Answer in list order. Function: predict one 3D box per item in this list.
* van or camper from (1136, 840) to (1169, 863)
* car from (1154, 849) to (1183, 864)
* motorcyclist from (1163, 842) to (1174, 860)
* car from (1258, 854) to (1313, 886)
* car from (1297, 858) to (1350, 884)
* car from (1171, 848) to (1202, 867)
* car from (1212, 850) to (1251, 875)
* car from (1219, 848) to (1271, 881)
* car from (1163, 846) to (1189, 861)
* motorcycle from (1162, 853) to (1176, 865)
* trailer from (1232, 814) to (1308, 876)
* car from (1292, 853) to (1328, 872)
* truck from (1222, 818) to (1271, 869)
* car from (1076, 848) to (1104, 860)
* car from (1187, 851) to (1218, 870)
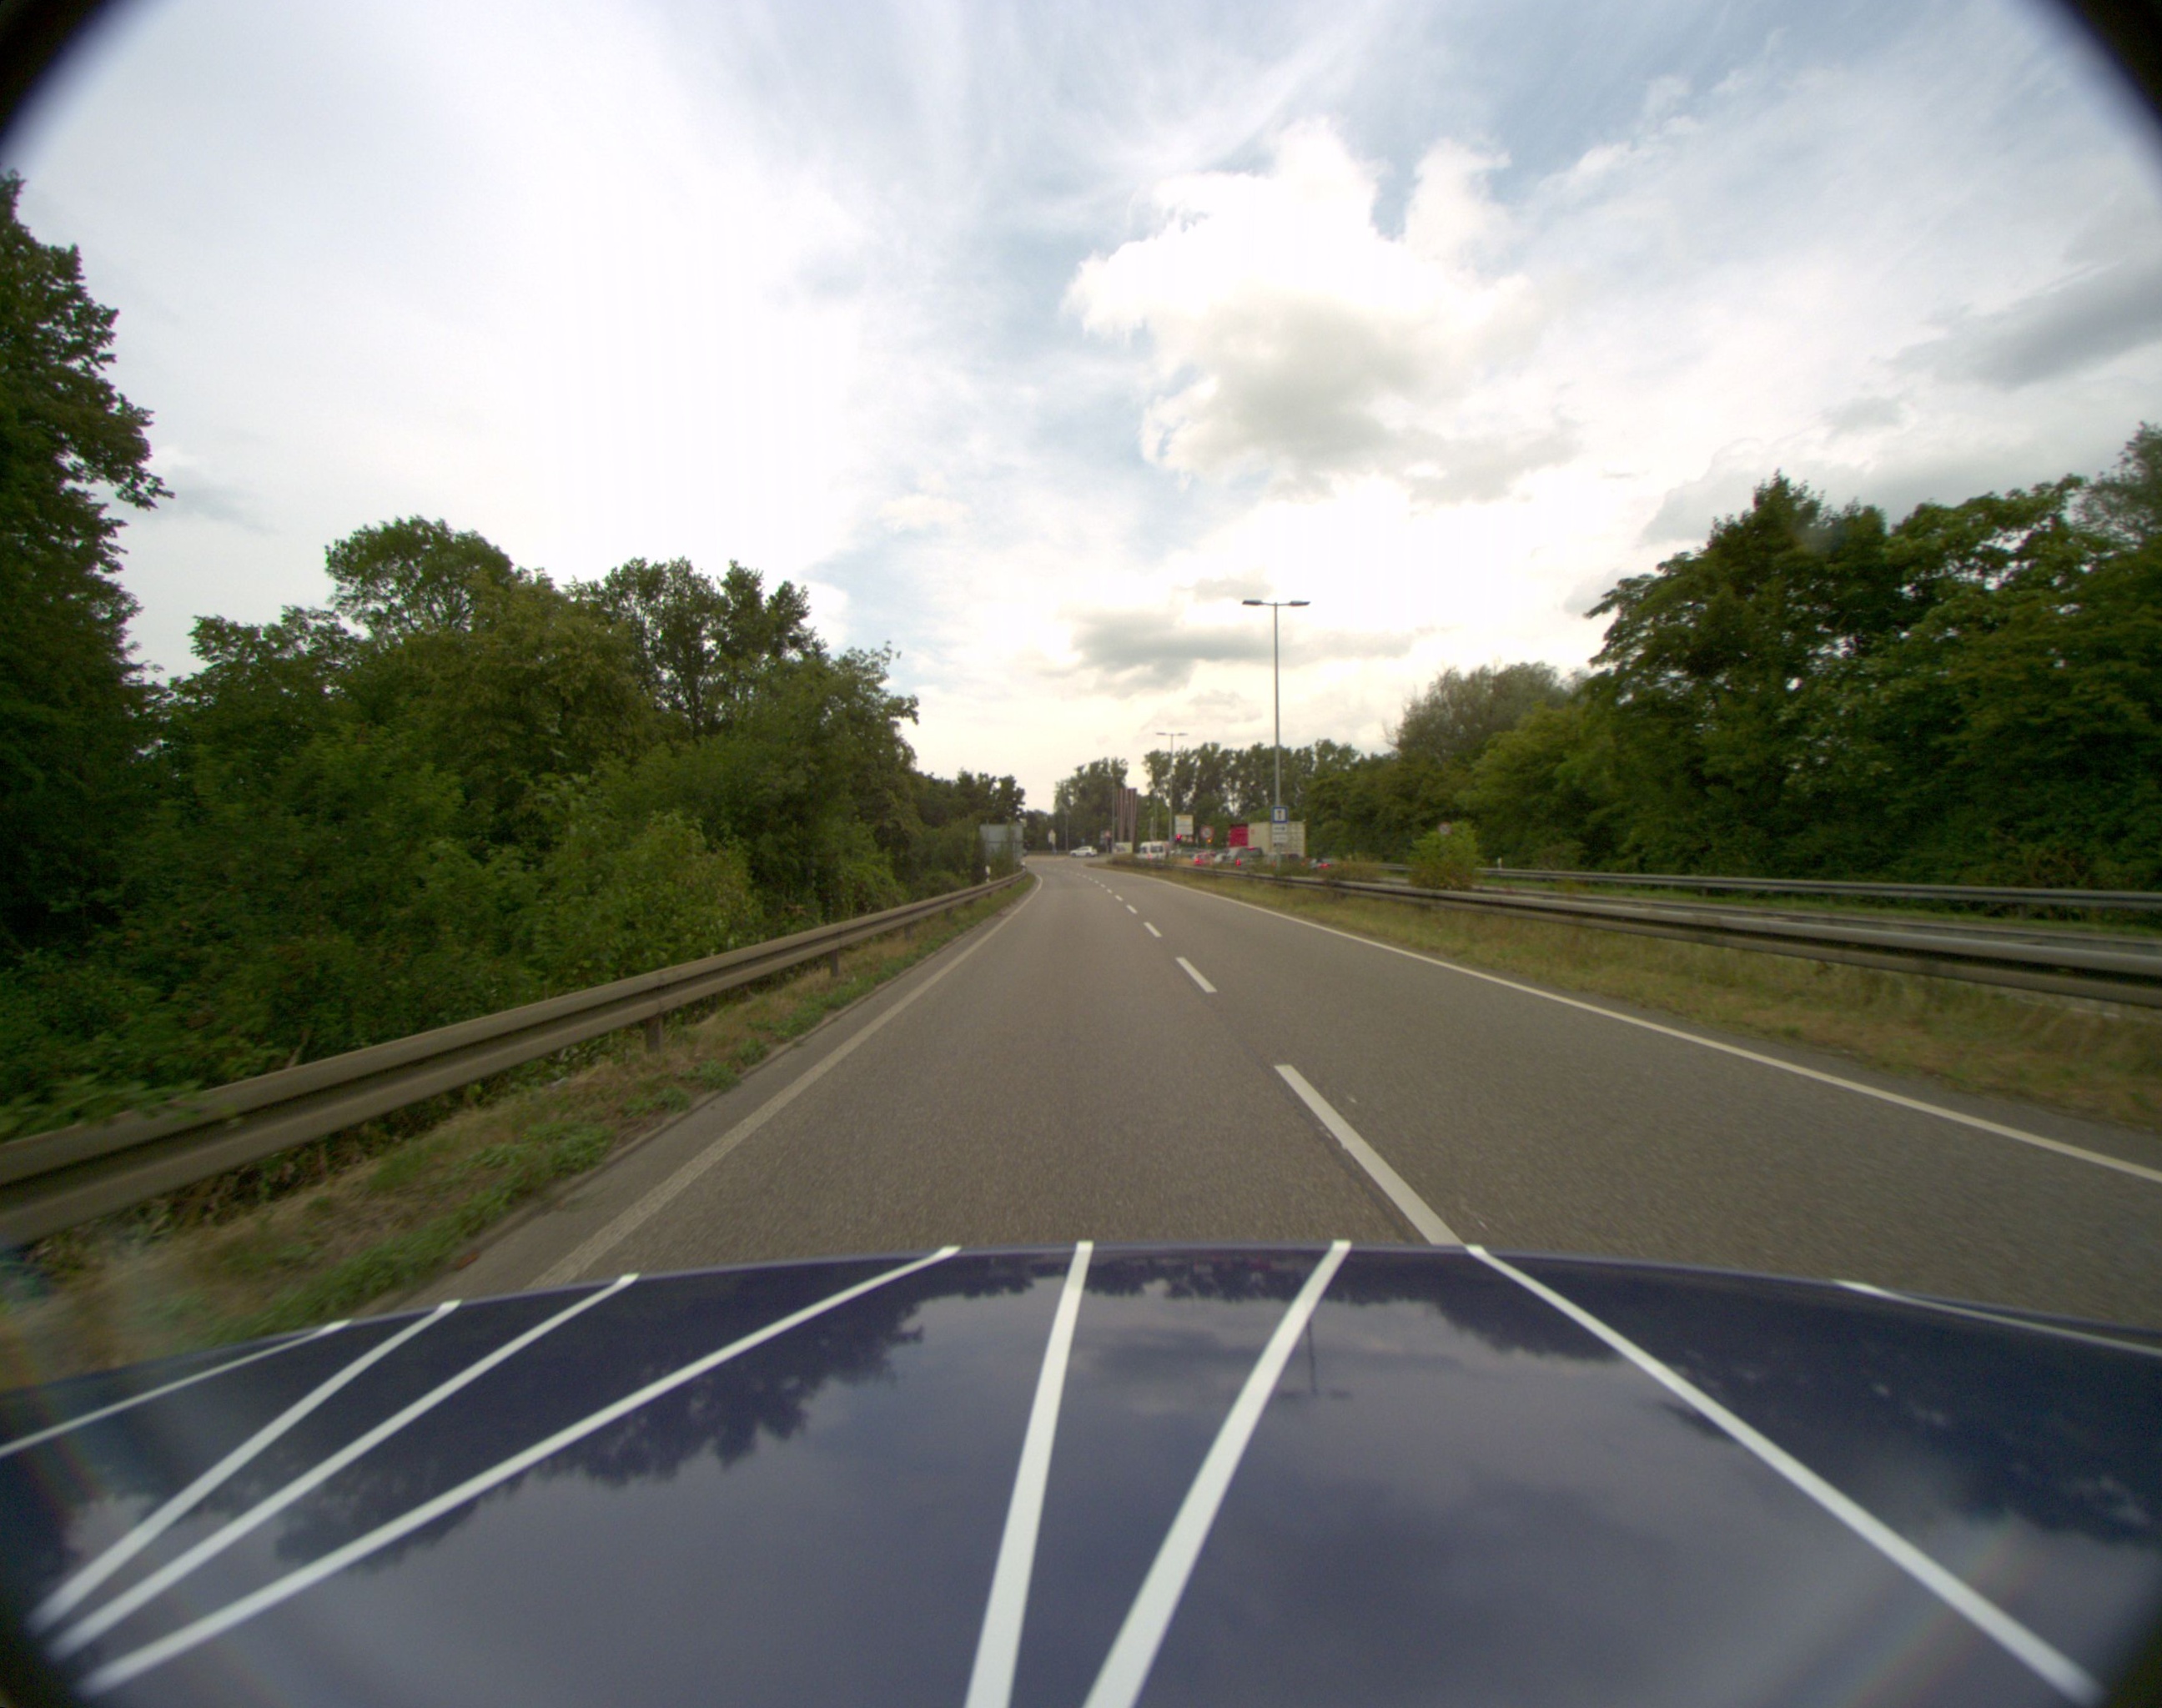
[{"bbox_3d":[8.278,-0.373,88.363,2.167,2.574,6.489,-1,1,-9],"label":"van or camper"},{"bbox_3d":[9.220,0.273,80.601,2.000,1.490,4.396,-1,1,-8],"label":"car"},{"bbox_3d":[8.894,-0.328,76.914,0.868,1.813,0.924,-1,2,-9],"label":"motorcyclist"},{"bbox_3d":[10.669,0.806,39.954,1.771,1.498,3.938,-1,1,-1],"label":"car"},{"bbox_3d":[14.009,0.943,44.099,1.824,1.281,3.999,-1,1,0],"label":"car"},{"bbox_3d":[10.064,0.309,72.867,1.809,1.719,4.957,-1,1,-5],"label":"car"},{"bbox_3d":[11.156,0.584,56.448,1.845,1.657,4.333,-1,1,-3],"label":"car"},{"bbox_3d":[10.412,0.612,48.690,2.015,1.852,5.275,-1,1,-2],"label":"car"},{"bbox_3d":[11.230,-0.083,89.826,2.000,1.538,4.534,-1,1,-7],"label":"car"},{"bbox_3d":[8.924,0.486,76.983,0.801,1.218,2.324,-1,1,-9],"label":"motorcycle"},{"bbox_3d":[13.904,-0.720,56.883,2.542,4.124,10.766,-1,1,-2],"label":"trailer"},{"bbox_3d":[18.093,0.648,60.205,1.628,1.324,4.159,-1,1,0],"label":"car"},{"bbox_3d":[13.667,-0.885,63.089,2.575,4.060,5.620,-1,1,-2],"label":"truck"},{"bbox_3d":[1.506,-0.003,125.029,4.246,1.773,1.931,0,2,29],"label":"car"},{"bbox_3d":[10.585,0.540,66.298,1.809,1.424,4.123,-1,1,-4],"label":"car"}]
